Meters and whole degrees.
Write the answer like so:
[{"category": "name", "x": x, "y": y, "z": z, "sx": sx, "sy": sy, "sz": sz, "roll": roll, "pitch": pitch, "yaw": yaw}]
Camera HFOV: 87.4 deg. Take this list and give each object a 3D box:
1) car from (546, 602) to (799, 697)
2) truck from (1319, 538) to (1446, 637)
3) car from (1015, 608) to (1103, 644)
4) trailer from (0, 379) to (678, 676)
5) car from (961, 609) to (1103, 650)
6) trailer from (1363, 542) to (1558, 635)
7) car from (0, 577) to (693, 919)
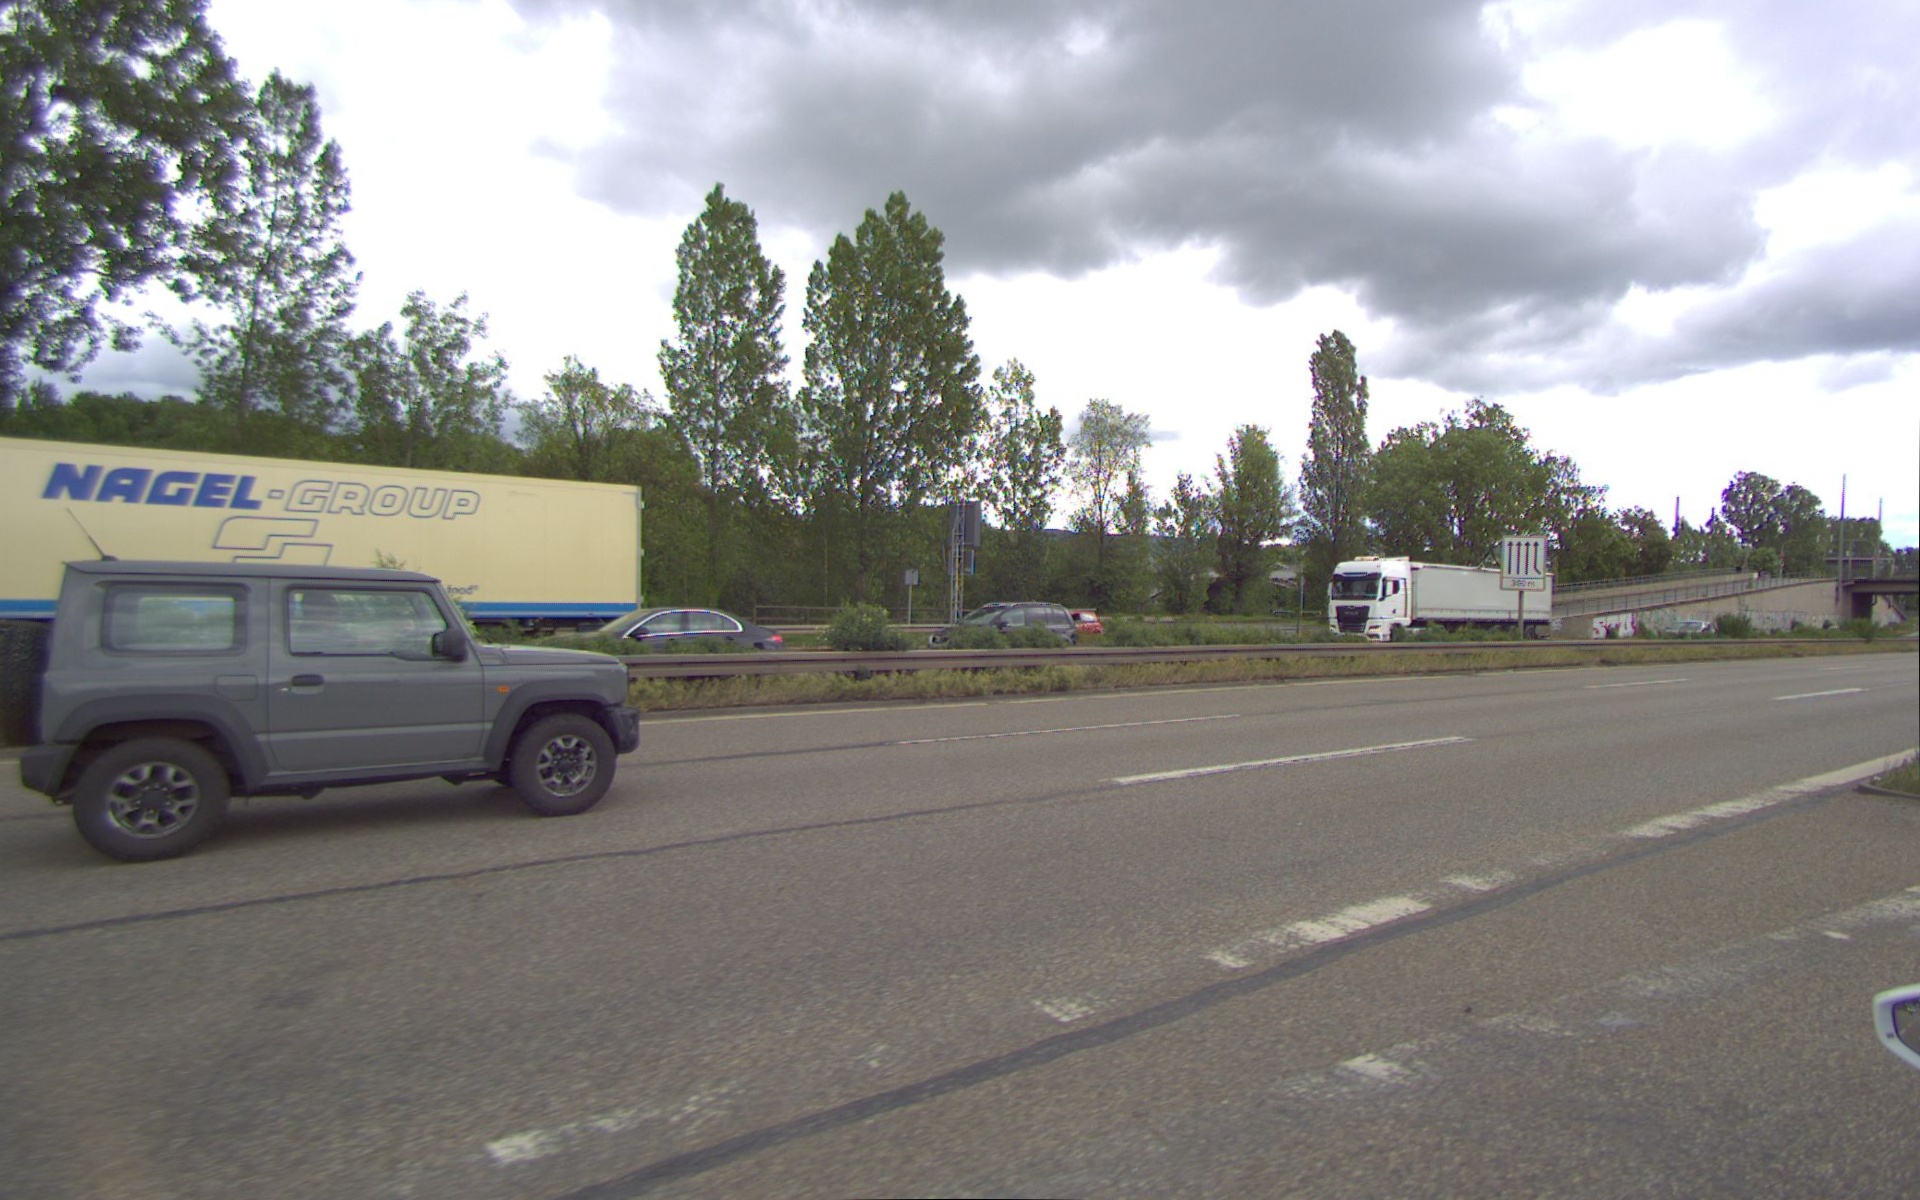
[{"category": "car", "x": -5.104, "y": 0.796, "z": 17.930, "sx": 3.956, "sy": 1.473, "sz": 1.982, "roll": -1, "pitch": 1, "yaw": -33}, {"category": "truck", "x": 18.362, "y": -0.533, "z": 43.539, "sx": 5.264, "sy": 3.990, "sz": 2.768, "roll": 0, "pitch": 2, "yaw": -38}, {"category": "car", "x": 4.224, "y": 1.077, "z": 42.708, "sx": 3.583, "sy": 1.379, "sz": 1.639, "roll": -1, "pitch": 1, "yaw": -38}, {"category": "trailer", "x": -13.254, "y": -1.203, "z": 19.754, "sx": 14.641, "sy": 4.736, "sz": 3.438, "roll": 0, "pitch": 2, "yaw": -37}, {"category": "car", "x": 1.949, "y": 0.758, "z": 26.924, "sx": 3.579, "sy": 0.944, "sz": 1.641, "roll": 0, "pitch": 2, "yaw": -35}, {"category": "trailer", "x": 24.276, "y": -0.495, "z": 48.167, "sx": 13.391, "sy": 4.002, "sz": 2.768, "roll": 0, "pitch": 2, "yaw": -38}, {"category": "car", "x": -4.030, "y": 0.749, "z": 6.836, "sx": 3.959, "sy": 1.759, "sz": 1.669, "roll": -1, "pitch": 0, "yaw": -36}]
